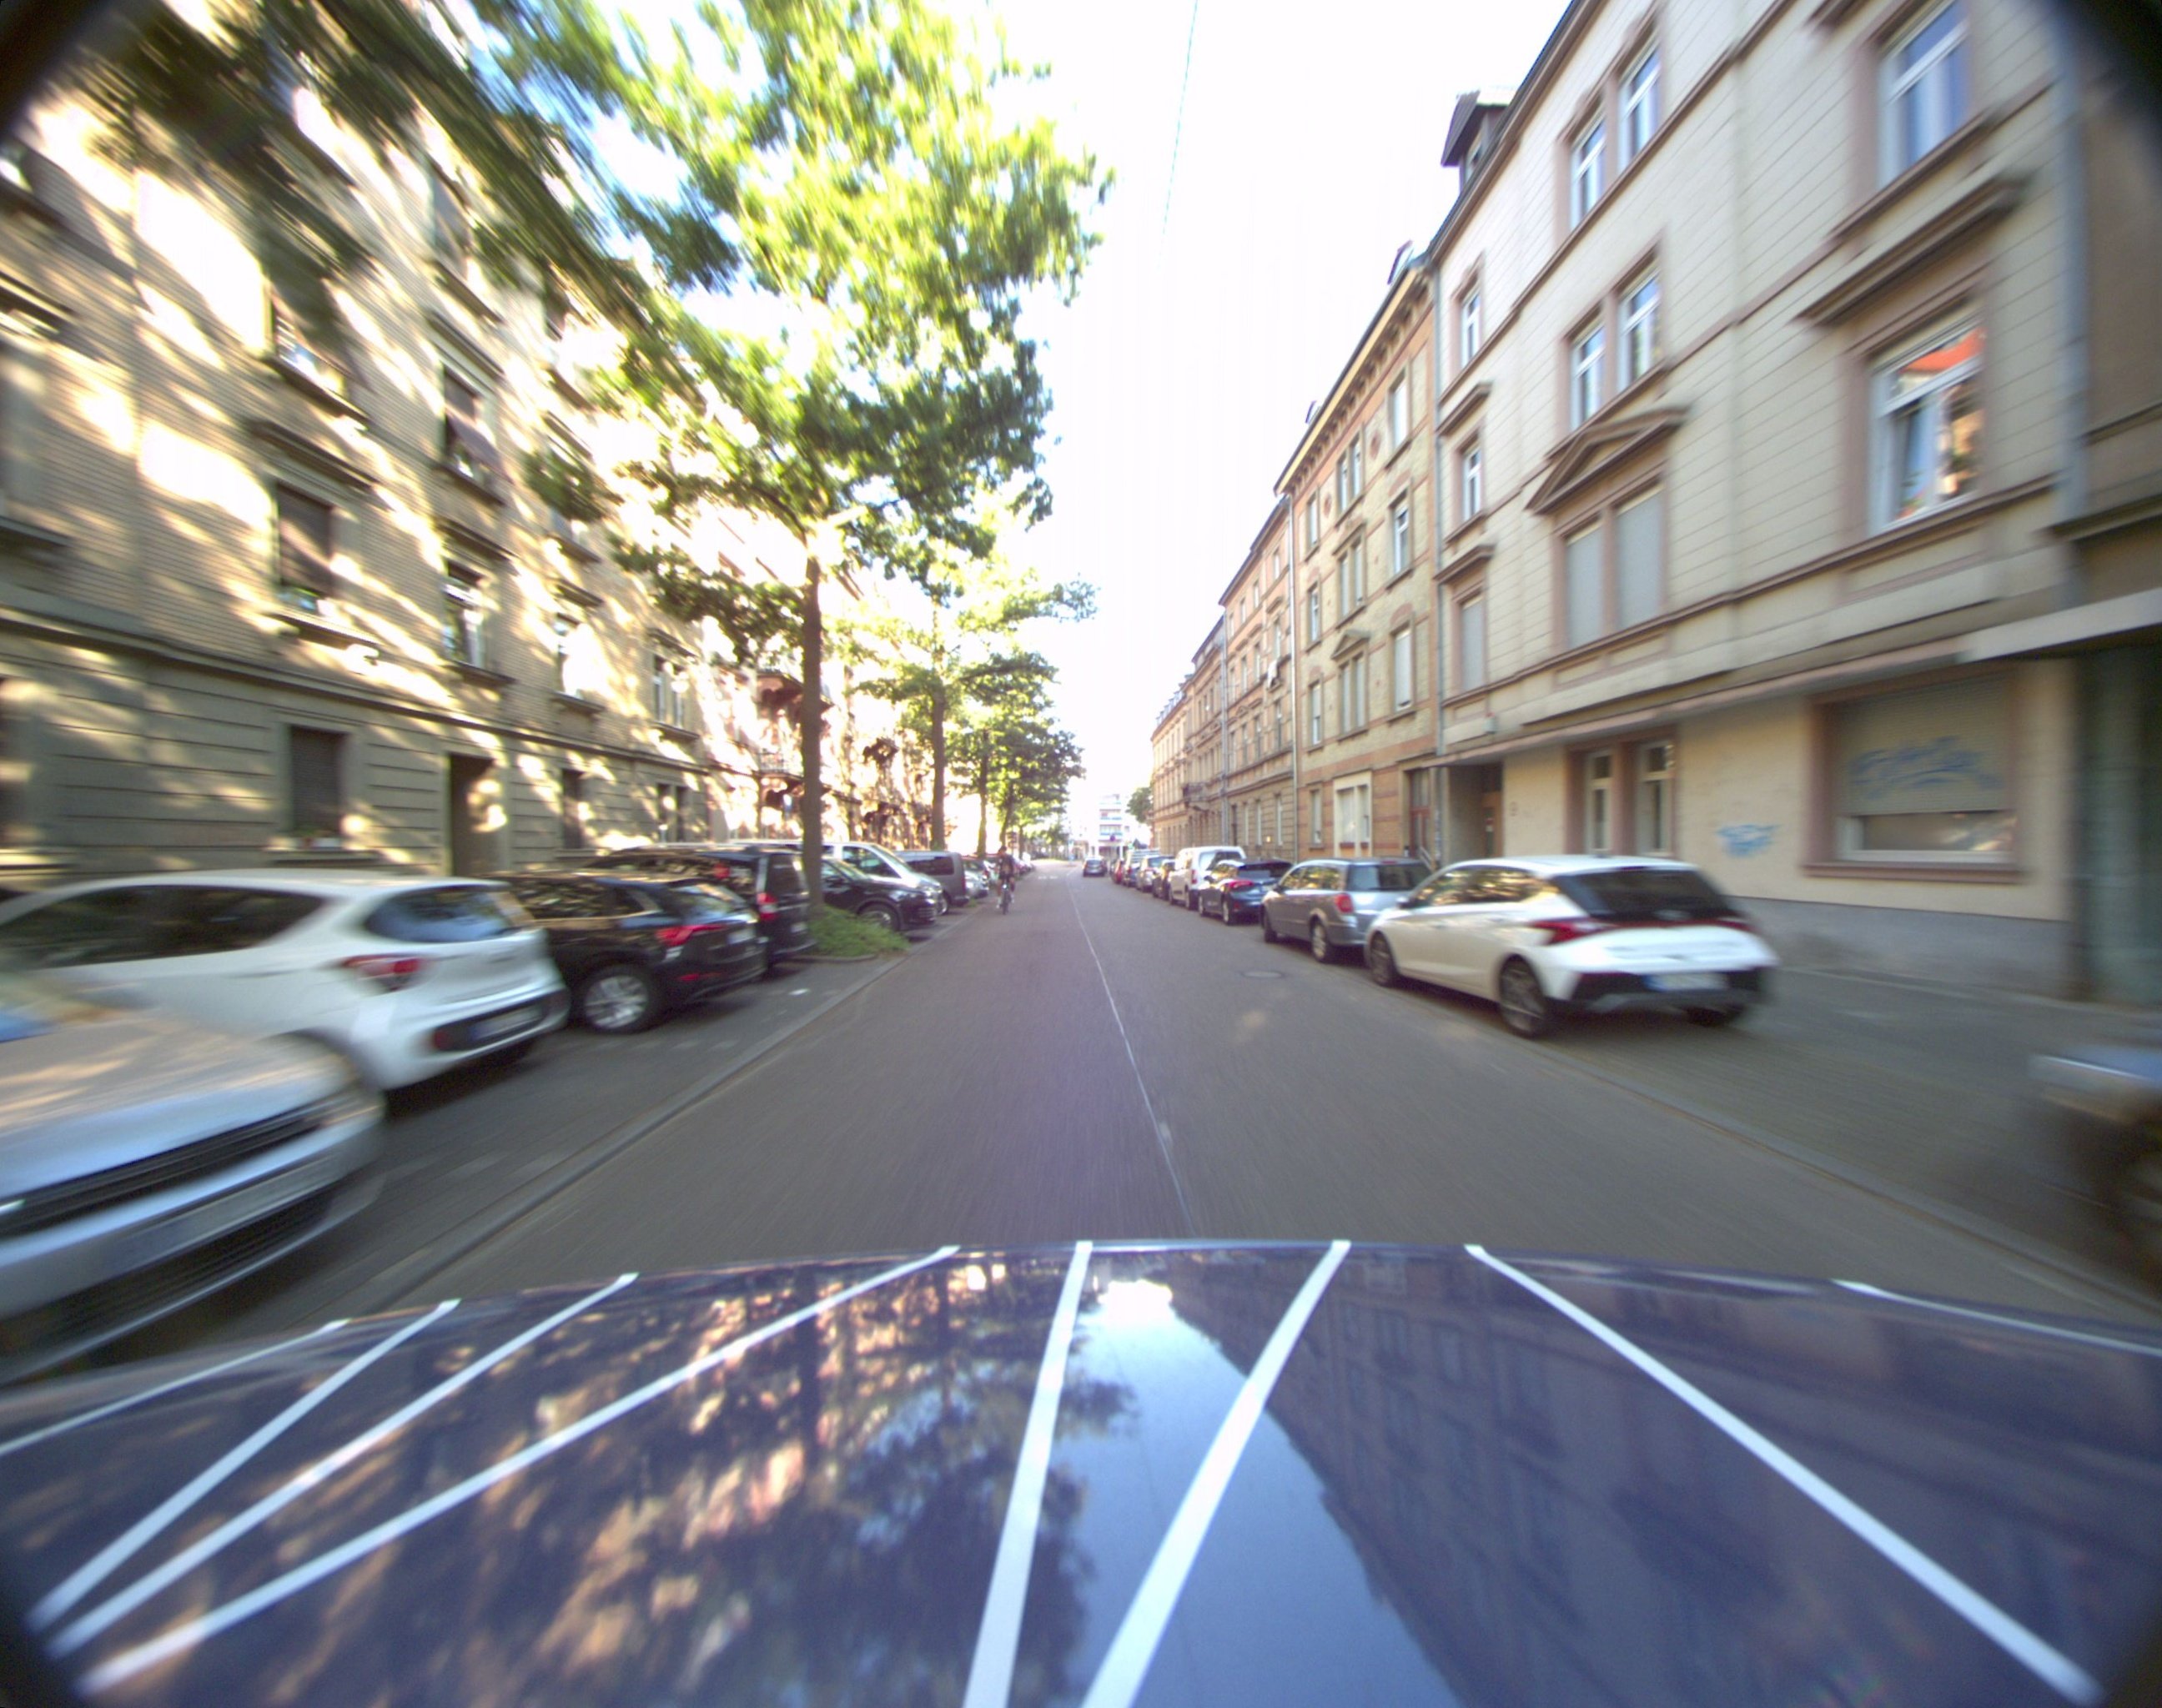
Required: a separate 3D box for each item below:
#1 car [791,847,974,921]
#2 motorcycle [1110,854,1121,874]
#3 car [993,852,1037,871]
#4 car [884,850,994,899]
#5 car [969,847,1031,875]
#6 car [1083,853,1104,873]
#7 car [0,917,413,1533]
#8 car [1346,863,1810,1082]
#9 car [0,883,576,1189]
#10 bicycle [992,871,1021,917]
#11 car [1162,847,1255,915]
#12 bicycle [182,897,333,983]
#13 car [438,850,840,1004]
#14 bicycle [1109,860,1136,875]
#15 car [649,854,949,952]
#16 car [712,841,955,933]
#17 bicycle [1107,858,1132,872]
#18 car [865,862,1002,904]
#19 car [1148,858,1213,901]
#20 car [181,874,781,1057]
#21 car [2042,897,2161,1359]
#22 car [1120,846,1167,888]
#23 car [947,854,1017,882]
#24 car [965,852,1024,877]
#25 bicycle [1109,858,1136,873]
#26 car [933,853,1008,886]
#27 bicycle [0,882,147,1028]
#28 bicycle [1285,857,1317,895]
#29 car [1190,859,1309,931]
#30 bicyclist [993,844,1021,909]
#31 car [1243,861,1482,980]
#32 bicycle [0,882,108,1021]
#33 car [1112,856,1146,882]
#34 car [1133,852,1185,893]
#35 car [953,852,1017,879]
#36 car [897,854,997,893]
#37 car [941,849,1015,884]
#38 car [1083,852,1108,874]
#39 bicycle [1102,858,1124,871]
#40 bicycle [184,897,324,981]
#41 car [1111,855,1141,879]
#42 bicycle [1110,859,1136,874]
[{"bbox_3d":[-5.511,0.771,21.107,4.684,1.879,1.904,0,0,-23],"label":"car"},{"bbox_3d":[2.574,0.753,57.165,0.624,1.482,2.489,-2,0,-1],"label":"motorcycle"},{"bbox_3d":[-6.439,0.727,74.518,4.057,1.521,1.780,4,0,-1],"label":"car"},{"bbox_3d":[-5.939,0.849,32.088,4.242,1.875,1.782,-2,0,0],"label":"car"},{"bbox_3d":[-6.566,0.572,62.045,4.700,1.966,1.925,4,0,-1],"label":"car"},{"bbox_3d":[1.067,0.767,65.606,1.745,1.630,3.825,-2,0,0],"label":"car"},{"bbox_3d":[-4.731,1.022,2.220,3.997,1.448,1.687,-1,0,-1],"label":"car"},{"bbox_3d":[4.279,0.867,7.469,1.761,1.464,4.087,-1,0,-2],"label":"car"},{"bbox_3d":[-5.798,1.002,4.783,3.998,1.486,1.686,-1,0,-4],"label":"car"},{"bbox_3d":[-2.175,1.142,22.276,0.712,1.252,1.887,0,0,-1],"label":"bicycle"},{"bbox_3d":[3.774,0.733,23.349,1.847,1.822,4.605,-2,0,-3],"label":"car"},{"bbox_3d":[-10.819,1.102,10.053,0.396,0.961,1.455,-1,0,0],"label":"bicycle"},{"bbox_3d":[-5.602,0.875,10.067,4.135,1.778,1.945,-1,0,0],"label":"car"},{"bbox_3d":[3.187,1.026,58.912,2.043,1.092,0.587,-2,1,0],"label":"bicycle"},{"bbox_3d":[-5.113,0.878,14.460,4.934,1.623,2.077,2,0,-5],"label":"car"},{"bbox_3d":[-5.515,0.723,17.566,4.934,1.890,2.175,2,0,-5],"label":"car"},{"bbox_3d":[3.184,0.927,62.843,2.043,1.092,0.499,-2,1,0],"label":"bicycle"},{"bbox_3d":[-5.185,1.015,27.128,4.469,1.360,1.903,1,0,0],"label":"car"},{"bbox_3d":[3.600,0.885,28.056,1.641,1.413,3.824,-2,0,-3],"label":"car"},{"bbox_3d":[-5.338,0.963,7.291,4.156,1.446,1.936,1,0,-2],"label":"car"},{"bbox_3d":[4.419,0.880,0.505,1.867,1.464,4.488,-1,0,-1],"label":"car"},{"bbox_3d":[3.259,0.636,40.634,1.947,2.045,4.744,-2,0,-2],"label":"car"},{"bbox_3d":[-6.113,0.871,47.302,4.057,1.571,1.781,2,0,0],"label":"car"},{"bbox_3d":[-6.434,0.769,56.826,4.057,1.612,1.781,4,0,-1],"label":"car"},{"bbox_3d":[3.250,0.876,59.833,2.043,1.092,0.587,-2,1,0],"label":"bicycle"},{"bbox_3d":[-6.116,0.832,42.420,3.844,1.673,1.738,2,0,0],"label":"car"},{"bbox_3d":[-10.242,0.962,7.250,0.369,1.311,1.883,-1,0,-3],"label":"bicycle"},{"bbox_3d":[7.763,0.752,26.889,0.495,1.250,1.908,-2,0,-2],"label":"bicycle"},{"bbox_3d":[3.858,0.873,18.124,1.751,1.464,4.243,-1,0,-2],"label":"car"},{"bbox_3d":[-2.165,0.635,22.319,0.712,1.865,1.120,0,1,-2],"label":"bicyclist"},{"bbox_3d":[4.109,0.873,12.025,1.891,1.436,4.541,-1,0,-3],"label":"car"},{"bbox_3d":[-10.665,0.967,7.249,0.369,1.311,1.883,-1,0,-3],"label":"bicycle"},{"bbox_3d":[2.866,0.874,46.156,1.641,1.482,3.824,-2,0,-2],"label":"car"},{"bbox_3d":[3.446,0.784,34.287,1.771,1.648,4.157,-2,0,-2],"label":"car"},{"bbox_3d":[-6.559,0.781,52.159,4.057,1.612,1.781,4,0,-1],"label":"car"},{"bbox_3d":[-6.044,0.880,34.559,4.243,1.579,1.738,2,0,-3],"label":"car"},{"bbox_3d":[-6.054,0.724,44.872,4.057,1.875,1.781,2,0,0],"label":"car"},{"bbox_3d":[1.131,0.721,60.898,1.868,1.620,3.825,-2,0,0],"label":"car"},{"bbox_3d":[2.992,0.990,71.398,2.043,1.092,0.499,-2,1,0],"label":"bicycle"},{"bbox_3d":[-11.103,1.105,10.265,0.283,0.961,1.455,-1,0,0],"label":"bicycle"},{"bbox_3d":[2.968,0.858,50.723,1.641,1.482,3.824,-2,0,-2],"label":"car"},{"bbox_3d":[3.358,0.970,60.497,2.043,1.092,0.499,-2,1,0],"label":"bicycle"}]
